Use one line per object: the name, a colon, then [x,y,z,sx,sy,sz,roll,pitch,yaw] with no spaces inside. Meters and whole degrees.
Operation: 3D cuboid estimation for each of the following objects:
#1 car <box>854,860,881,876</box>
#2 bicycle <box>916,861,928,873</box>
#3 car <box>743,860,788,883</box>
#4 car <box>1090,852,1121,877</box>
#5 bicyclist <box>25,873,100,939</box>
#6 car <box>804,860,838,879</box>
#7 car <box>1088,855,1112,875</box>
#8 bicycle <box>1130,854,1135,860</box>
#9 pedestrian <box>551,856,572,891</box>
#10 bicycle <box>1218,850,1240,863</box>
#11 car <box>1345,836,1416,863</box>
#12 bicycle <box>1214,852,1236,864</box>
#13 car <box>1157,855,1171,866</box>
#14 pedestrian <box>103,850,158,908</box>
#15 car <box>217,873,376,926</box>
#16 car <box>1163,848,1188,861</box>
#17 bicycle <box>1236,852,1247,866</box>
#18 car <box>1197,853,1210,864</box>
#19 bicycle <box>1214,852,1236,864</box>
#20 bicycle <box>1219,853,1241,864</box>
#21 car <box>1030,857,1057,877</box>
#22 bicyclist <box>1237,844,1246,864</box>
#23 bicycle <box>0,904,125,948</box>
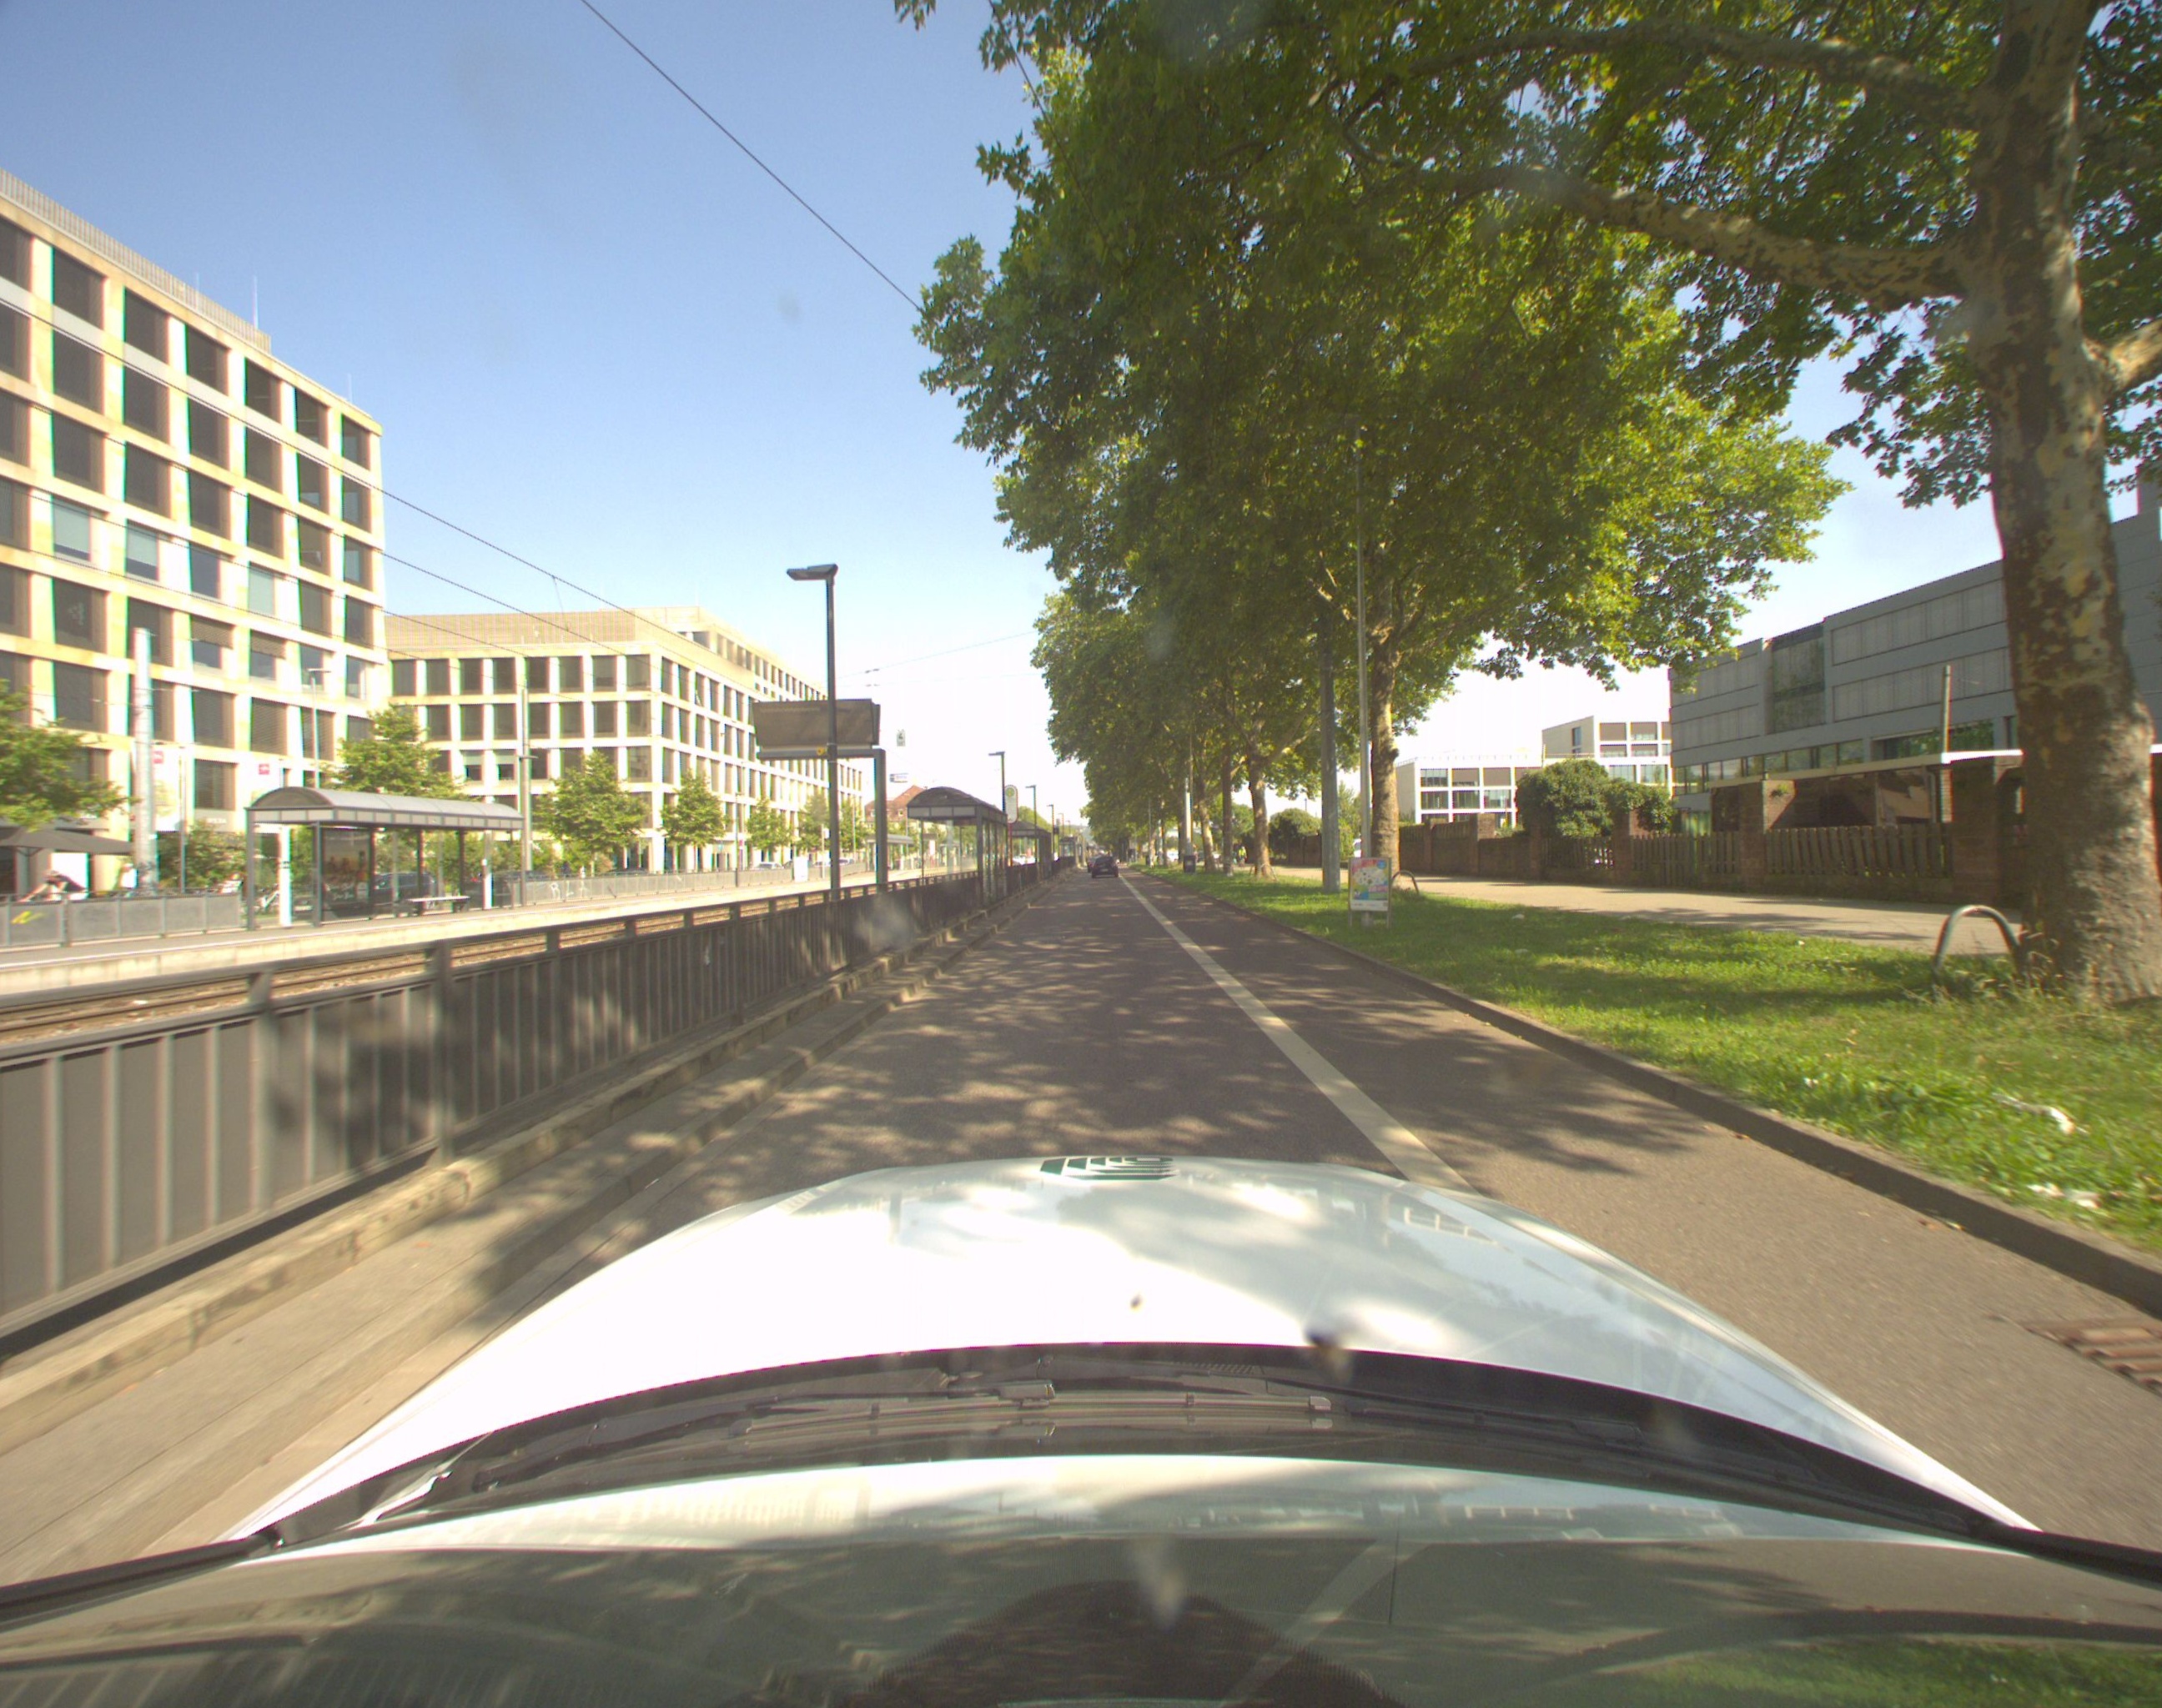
car: [-23.448,1.542,89.581,1.758,1.603,4.131,-3,0,0]
bicycle: [-15.581,1.280,79.719,0.467,1.147,1.490,-1,-1,16]
car: [-23.944,1.285,62.008,1.758,1.574,4.131,-3,0,0]
car: [1.594,0.685,54.602,1.901,1.537,4.000,-3,0,1]
bicyclist: [-22.678,1.138,18.143,0.627,1.402,0.784,-4,-2,0]
car: [-23.932,1.426,75.100,1.758,1.574,4.131,-3,0,0]
car: [1.704,0.989,74.543,1.967,1.537,4.000,-5,0,0]
bicycle: [9.583,0.514,152.625,0.609,1.022,2.400,-2,0,-3]
pedestrian: [-30.781,1.143,48.277,0.561,2.014,0.822,-4,-2,1]
bicycle: [16.146,0.294,88.868,2.236,1.277,0.998,-4,-2,0]
car: [21.981,-0.319,59.837,4.508,1.734,1.909,-2,0,-1]
bicycle: [15.308,0.413,86.563,2.163,1.076,0.744,-4,-1,4]
car: [12.629,0.983,123.547,1.721,1.448,4.552,-3,0,2]
pedestrian: [-32.625,0.860,27.962,0.792,1.917,0.837,-4,-2,-5]
car: [-24.284,1.360,25.383,1.549,1.428,3.503,-2,0,-1]
car: [15.816,0.063,136.853,4.085,1.918,1.850,-3,0,4]
bicycle: [11.818,0.355,60.036,0.546,1.007,1.714,-2,0,2]
car: [18.733,0.645,124.663,1.602,1.575,3.798,-3,0,2]
bicycle: [15.424,0.430,87.378,2.163,1.076,0.744,-4,-1,4]
bicycle: [15.449,0.495,84.349,2.167,1.076,0.743,-2,-1,-1]
car: [-3.433,1.189,74.589,1.986,1.559,4.002,-6,0,2]
bicyclist: [11.807,-0.023,59.931,0.546,1.453,0.842,-2,0,1]
bicycle: [-22.646,1.586,18.044,0.627,0.822,1.897,-4,-1,1]
